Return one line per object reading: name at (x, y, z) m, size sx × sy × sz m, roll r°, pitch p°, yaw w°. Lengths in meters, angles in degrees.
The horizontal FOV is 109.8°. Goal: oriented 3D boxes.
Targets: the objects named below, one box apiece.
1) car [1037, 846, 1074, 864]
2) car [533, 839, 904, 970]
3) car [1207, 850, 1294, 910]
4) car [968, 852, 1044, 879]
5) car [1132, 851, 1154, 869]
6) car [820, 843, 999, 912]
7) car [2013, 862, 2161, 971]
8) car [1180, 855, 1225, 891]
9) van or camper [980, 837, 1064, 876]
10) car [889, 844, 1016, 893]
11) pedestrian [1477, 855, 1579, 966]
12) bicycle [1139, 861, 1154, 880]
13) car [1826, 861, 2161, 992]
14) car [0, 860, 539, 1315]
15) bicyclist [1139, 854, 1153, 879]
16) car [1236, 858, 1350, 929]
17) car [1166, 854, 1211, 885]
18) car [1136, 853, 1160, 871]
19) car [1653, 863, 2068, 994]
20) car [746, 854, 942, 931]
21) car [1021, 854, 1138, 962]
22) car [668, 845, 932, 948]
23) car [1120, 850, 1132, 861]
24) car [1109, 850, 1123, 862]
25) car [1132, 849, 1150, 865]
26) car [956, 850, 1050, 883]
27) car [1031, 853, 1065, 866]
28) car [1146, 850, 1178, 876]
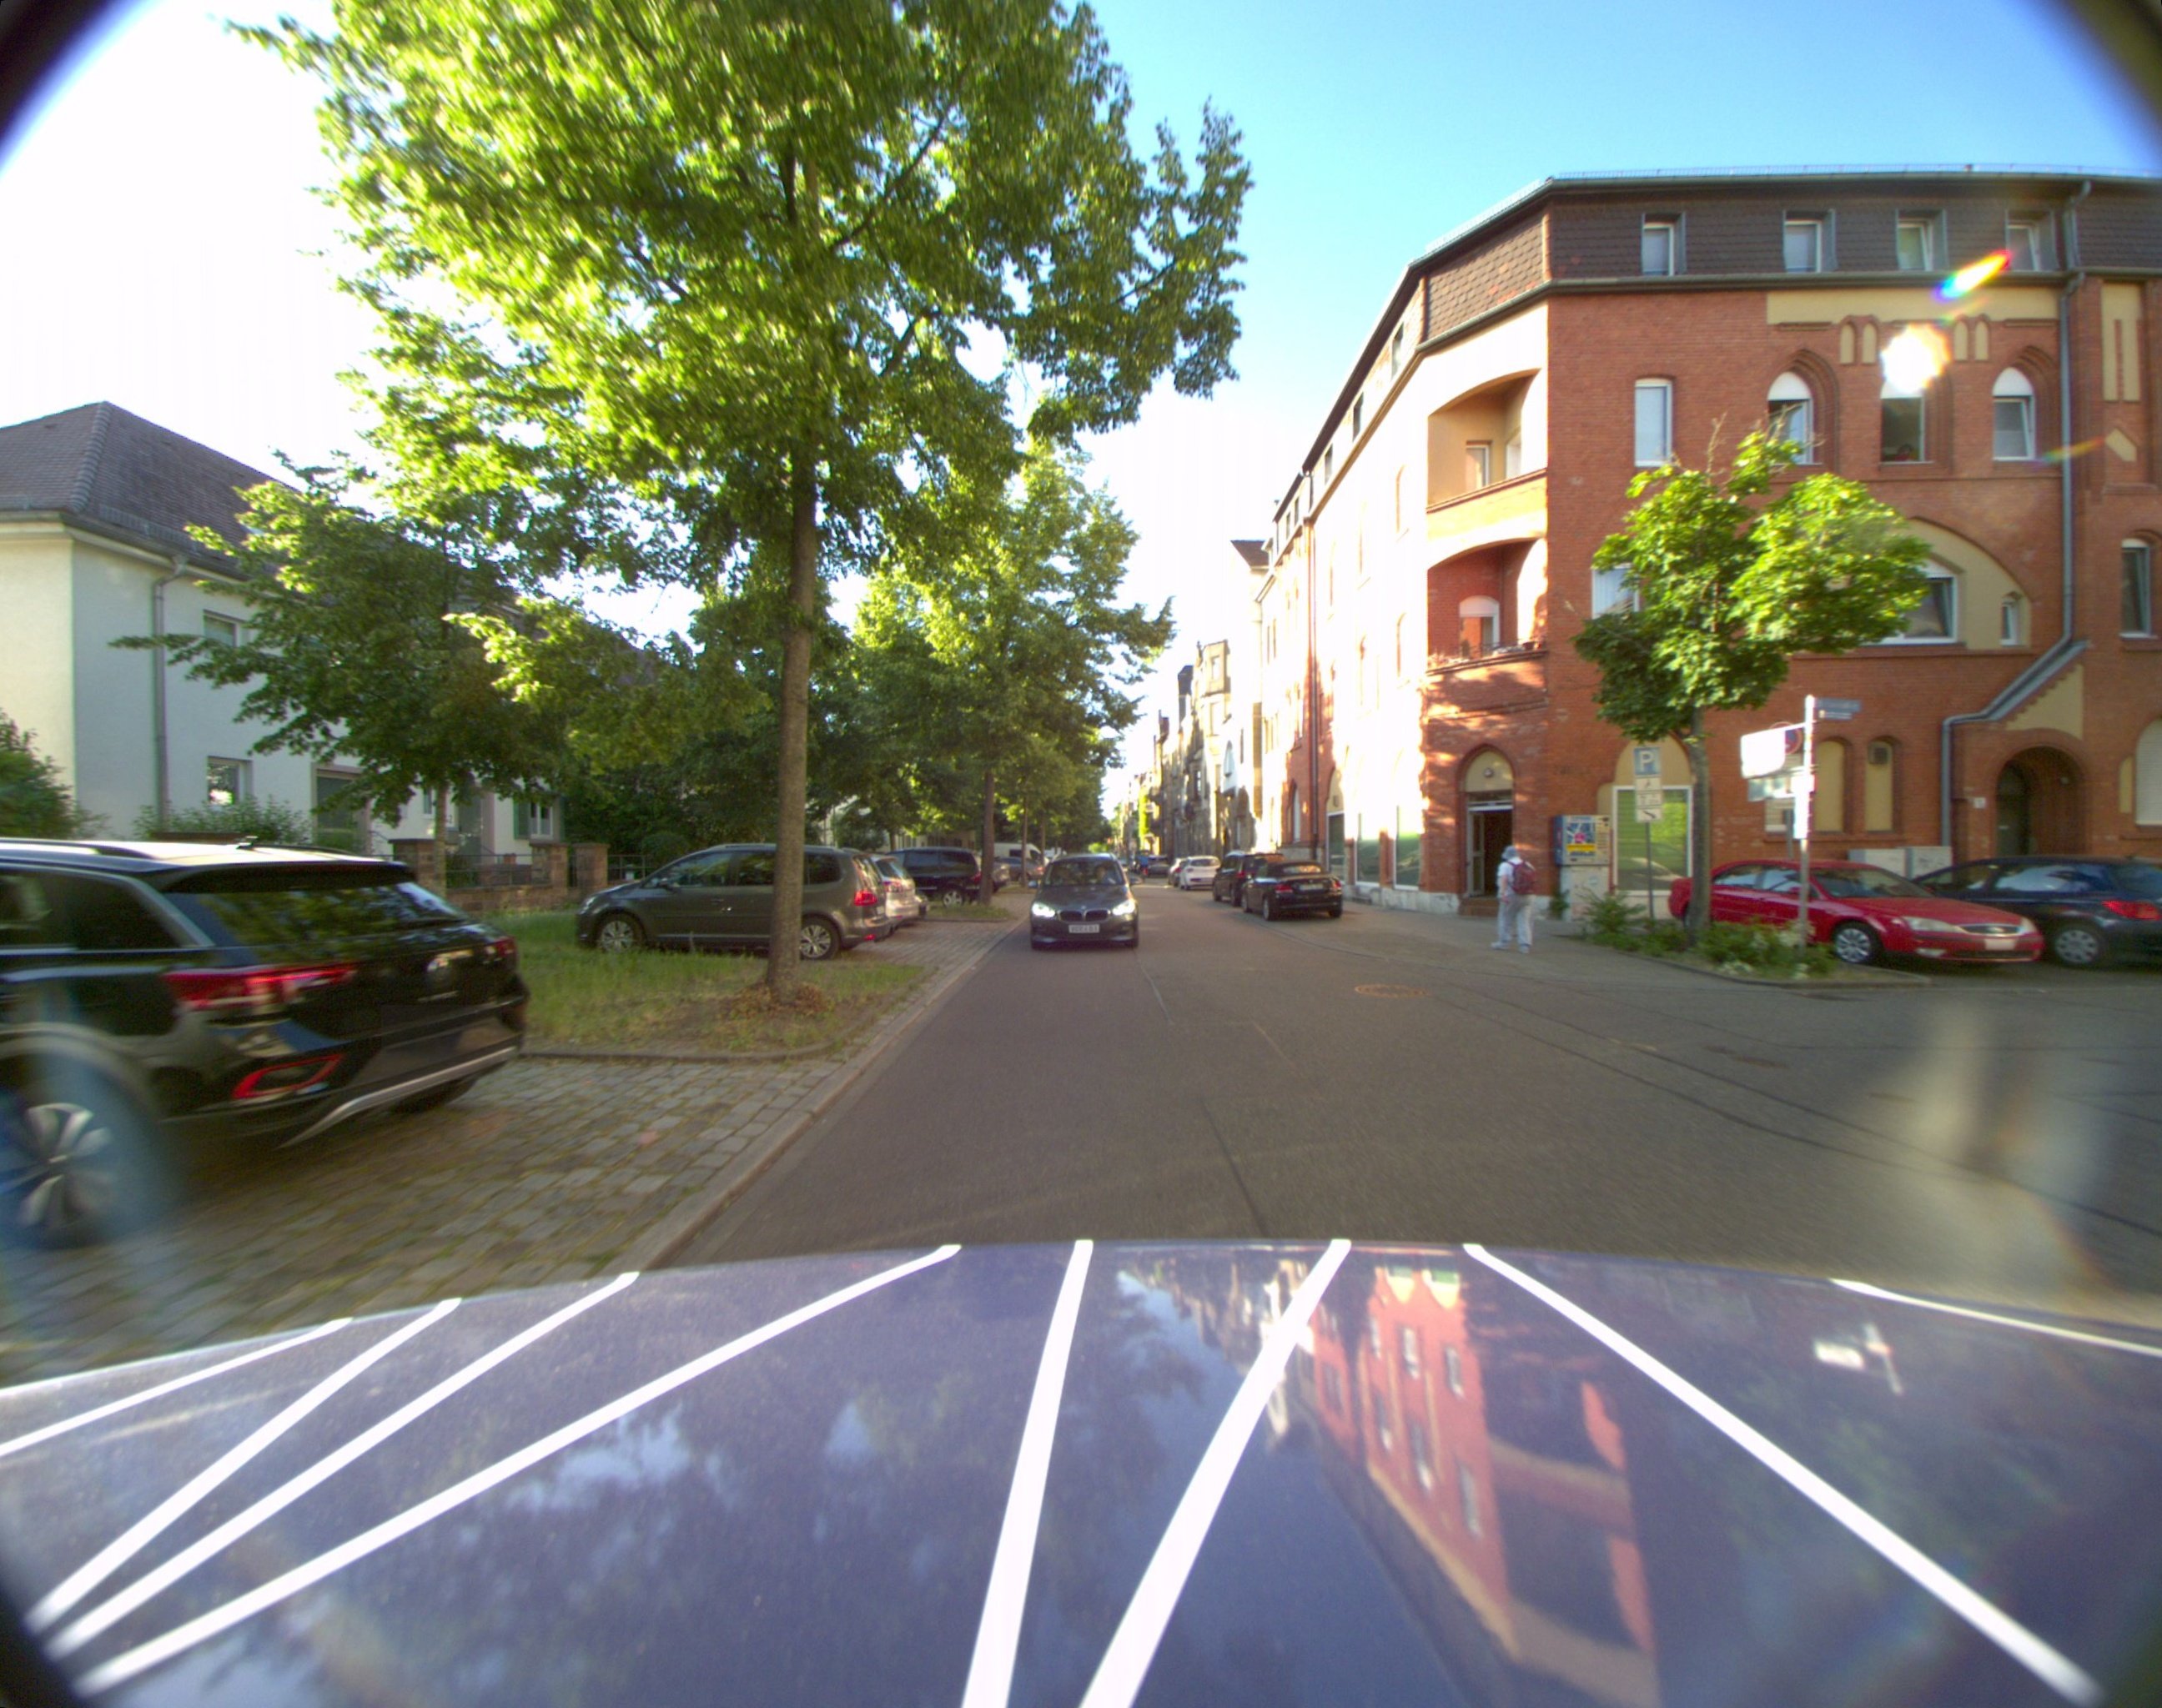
car at (-3.892, 0.148, 115.204) m, size 5.448 × 2.646 × 2.134 m, roll 0°, pitch 0°, yaw 1°
car at (-5.097, 0.696, 11.247) m, size 4.552 × 1.624 × 1.811 m, roll 2°, pitch 0°, yaw -5°
car at (5.241, 0.731, 24.018) m, size 1.673 × 1.671 × 4.349 m, roll -2°, pitch 1°, yaw -1°
car at (-4.601, 0.696, 47.001) m, size 4.486 × 1.427 × 1.828 m, roll 2°, pitch 0°, yaw 1°
car at (5.947, 0.538, 73.499) m, size 1.774 × 1.658 × 4.212 m, roll -2°, pitch 1°, yaw 0°
car at (-4.822, 0.640, 21.774) m, size 4.592 × 1.667 × 1.907 m, roll 2°, pitch 0°, yaw 3°
car at (16.433, 0.922, 10.737) m, size 1.717 × 1.503 × 3.915 m, roll -1°, pitch 1°, yaw 1°
car at (5.375, 0.799, 33.987) m, size 1.570 × 1.462 × 3.592 m, roll -2°, pitch 0°, yaw 3°
van or camper at (-4.180, 0.160, 54.471) m, size 5.733 × 2.502 × 2.162 m, roll 2°, pitch 1°, yaw 0°
car at (-4.829, 0.551, 29.086) m, size 4.487 × 1.624 × 1.875 m, roll 2°, pitch 0°, yaw 0°
pedestrian at (6.816, 0.831, 11.648) m, size 0.890 × 1.569 × 1.053 m, roll 1°, pitch 4°, yaw 1°
bicycle at (3.908, 0.979, 45.612) m, size 0.759 × 1.101 × 1.907 m, roll 0°, pitch 1°, yaw 1°
car at (14.094, 0.914, 11.400) m, size 1.717 × 1.541 × 4.212 m, roll 0°, pitch 0°, yaw 1°
car at (-5.207, 0.811, 3.575) m, size 4.077 × 1.468 × 1.694 m, roll 2°, pitch 0°, yaw 2°
bicyclist at (3.906, 0.739, 45.681) m, size 0.761 × 1.445 × 0.948 m, roll 0°, pitch 1°, yaw 1°
car at (5.092, 0.871, 18.834) m, size 1.640 × 1.402 × 4.333 m, roll -3°, pitch 1°, yaw 1°
car at (5.463, 0.772, 39.175) m, size 1.681 × 1.434 × 4.111 m, roll -2°, pitch 0°, yaw 0°
car at (5.843, 0.681, 67.114) m, size 1.774 × 1.493 × 4.211 m, roll -1°, pitch 2°, yaw 0°
car at (11.326, 0.940, 11.655) m, size 1.639 × 1.460 × 4.657 m, roll -2°, pitch 1°, yaw 1°
car at (-5.090, 0.795, 16.619) m, size 3.731 × 1.445 × 1.589 m, roll 2°, pitch 0°, yaw 1°
car at (0.040, 0.854, 14.129) m, size 1.753 × 1.596 × 4.551 m, roll -3°, pitch 0°, yaw 1°
car at (-5.158, 0.741, 14.292) m, size 4.282 × 1.624 × 1.691 m, roll 2°, pitch 0°, yaw 4°
car at (7.050, 0.284, 119.319) m, size 1.686 × 1.496 × 3.629 m, roll -4°, pitch -1°, yaw 2°
car at (4.555, 0.215, 99.281) m, size 1.631 × 1.469 × 3.759 m, roll 1°, pitch 0°, yaw -1°
car at (6.204, 0.329, 79.075) m, size 1.633 × 1.439 × 3.856 m, roll -4°, pitch -1°, yaw 2°
car at (-4.146, 0.643, 41.023) m, size 4.850 × 1.530 × 1.894 m, roll 2°, pitch 0°, yaw -1°
car at (-3.922, 0.659, 89.578) m, size 3.998 × 1.504 × 1.572 m, roll 0°, pitch 0°, yaw -3°
car at (5.826, 0.629, 55.234) m, size 1.881 × 1.707 × 4.339 m, roll -2°, pitch 0°, yaw 1°
